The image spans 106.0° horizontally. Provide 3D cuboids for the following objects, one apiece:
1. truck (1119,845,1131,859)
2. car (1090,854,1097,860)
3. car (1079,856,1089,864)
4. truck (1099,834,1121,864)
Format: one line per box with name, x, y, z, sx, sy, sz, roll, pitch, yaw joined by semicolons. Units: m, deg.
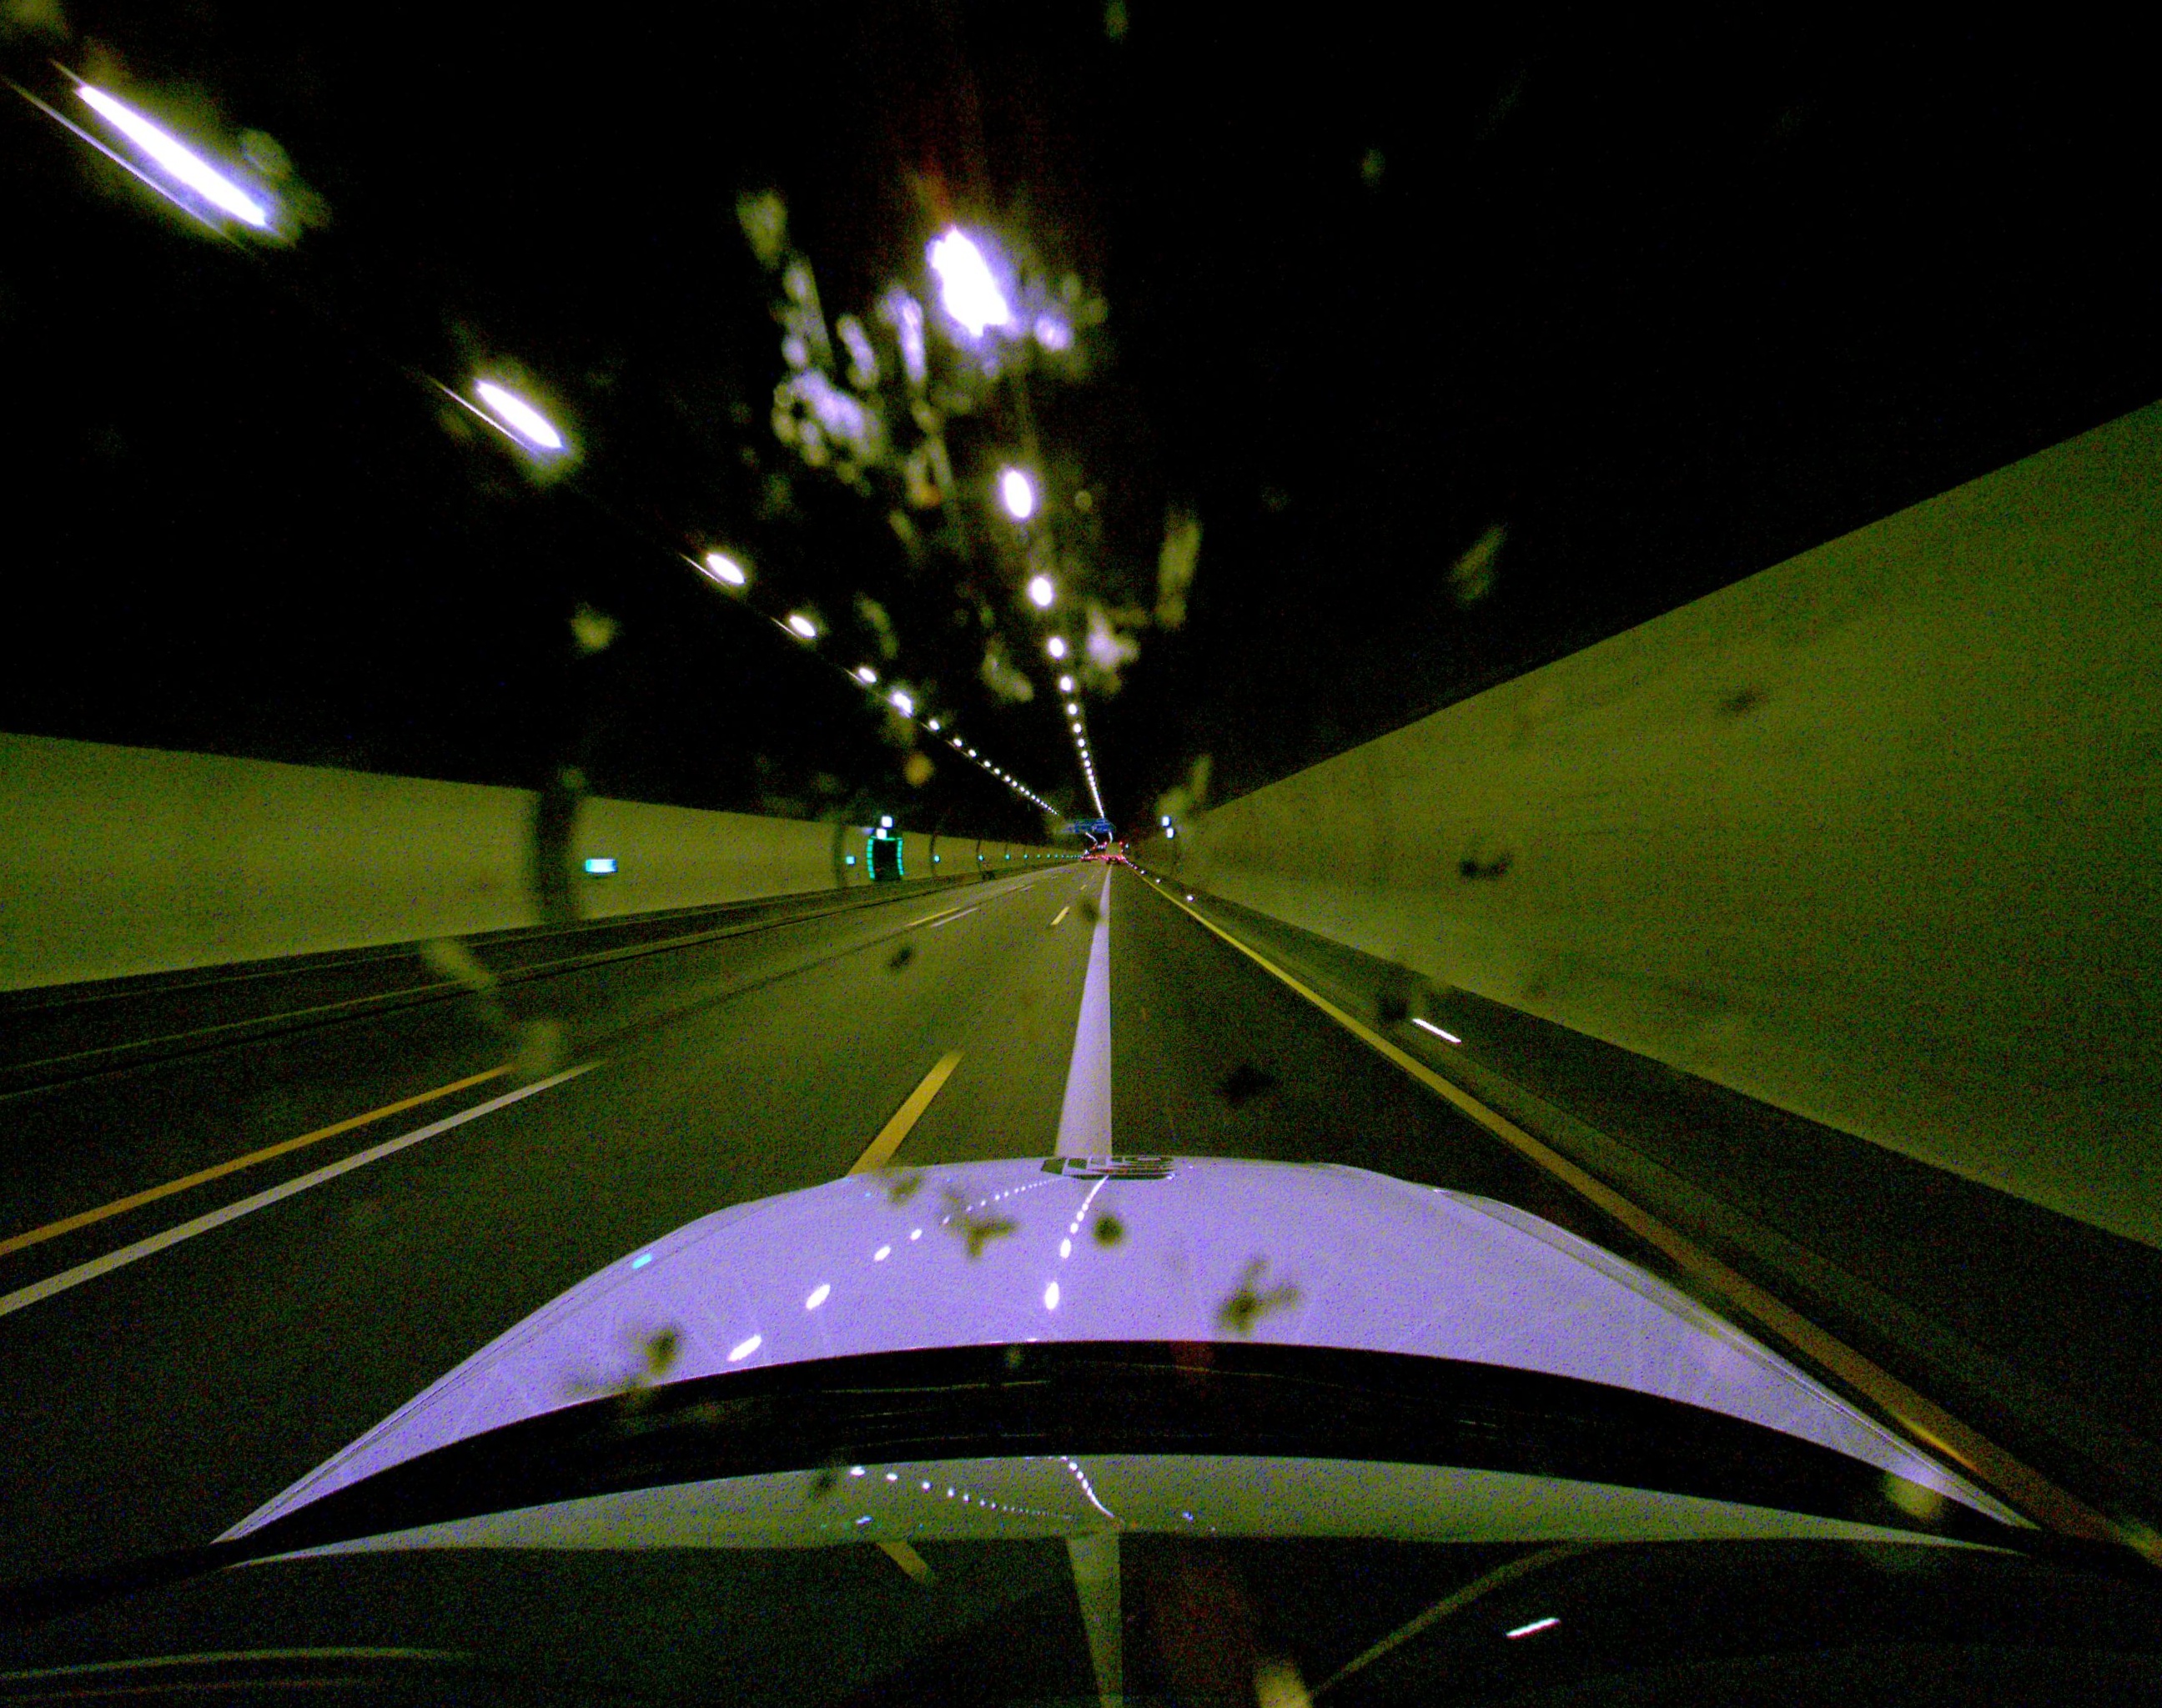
truck;13.483;-0.715;249.958;2.912;4.048;14.031;-2;0;1
car;3.434;0.770;218.736;1.807;1.520;3.998;0;1;-1
car;0.597;1.217;162.353;1.807;1.618;3.999;0;0;0
truck;4.789;-0.751;137.315;3.267;4.650;17.287;-2;0;1
